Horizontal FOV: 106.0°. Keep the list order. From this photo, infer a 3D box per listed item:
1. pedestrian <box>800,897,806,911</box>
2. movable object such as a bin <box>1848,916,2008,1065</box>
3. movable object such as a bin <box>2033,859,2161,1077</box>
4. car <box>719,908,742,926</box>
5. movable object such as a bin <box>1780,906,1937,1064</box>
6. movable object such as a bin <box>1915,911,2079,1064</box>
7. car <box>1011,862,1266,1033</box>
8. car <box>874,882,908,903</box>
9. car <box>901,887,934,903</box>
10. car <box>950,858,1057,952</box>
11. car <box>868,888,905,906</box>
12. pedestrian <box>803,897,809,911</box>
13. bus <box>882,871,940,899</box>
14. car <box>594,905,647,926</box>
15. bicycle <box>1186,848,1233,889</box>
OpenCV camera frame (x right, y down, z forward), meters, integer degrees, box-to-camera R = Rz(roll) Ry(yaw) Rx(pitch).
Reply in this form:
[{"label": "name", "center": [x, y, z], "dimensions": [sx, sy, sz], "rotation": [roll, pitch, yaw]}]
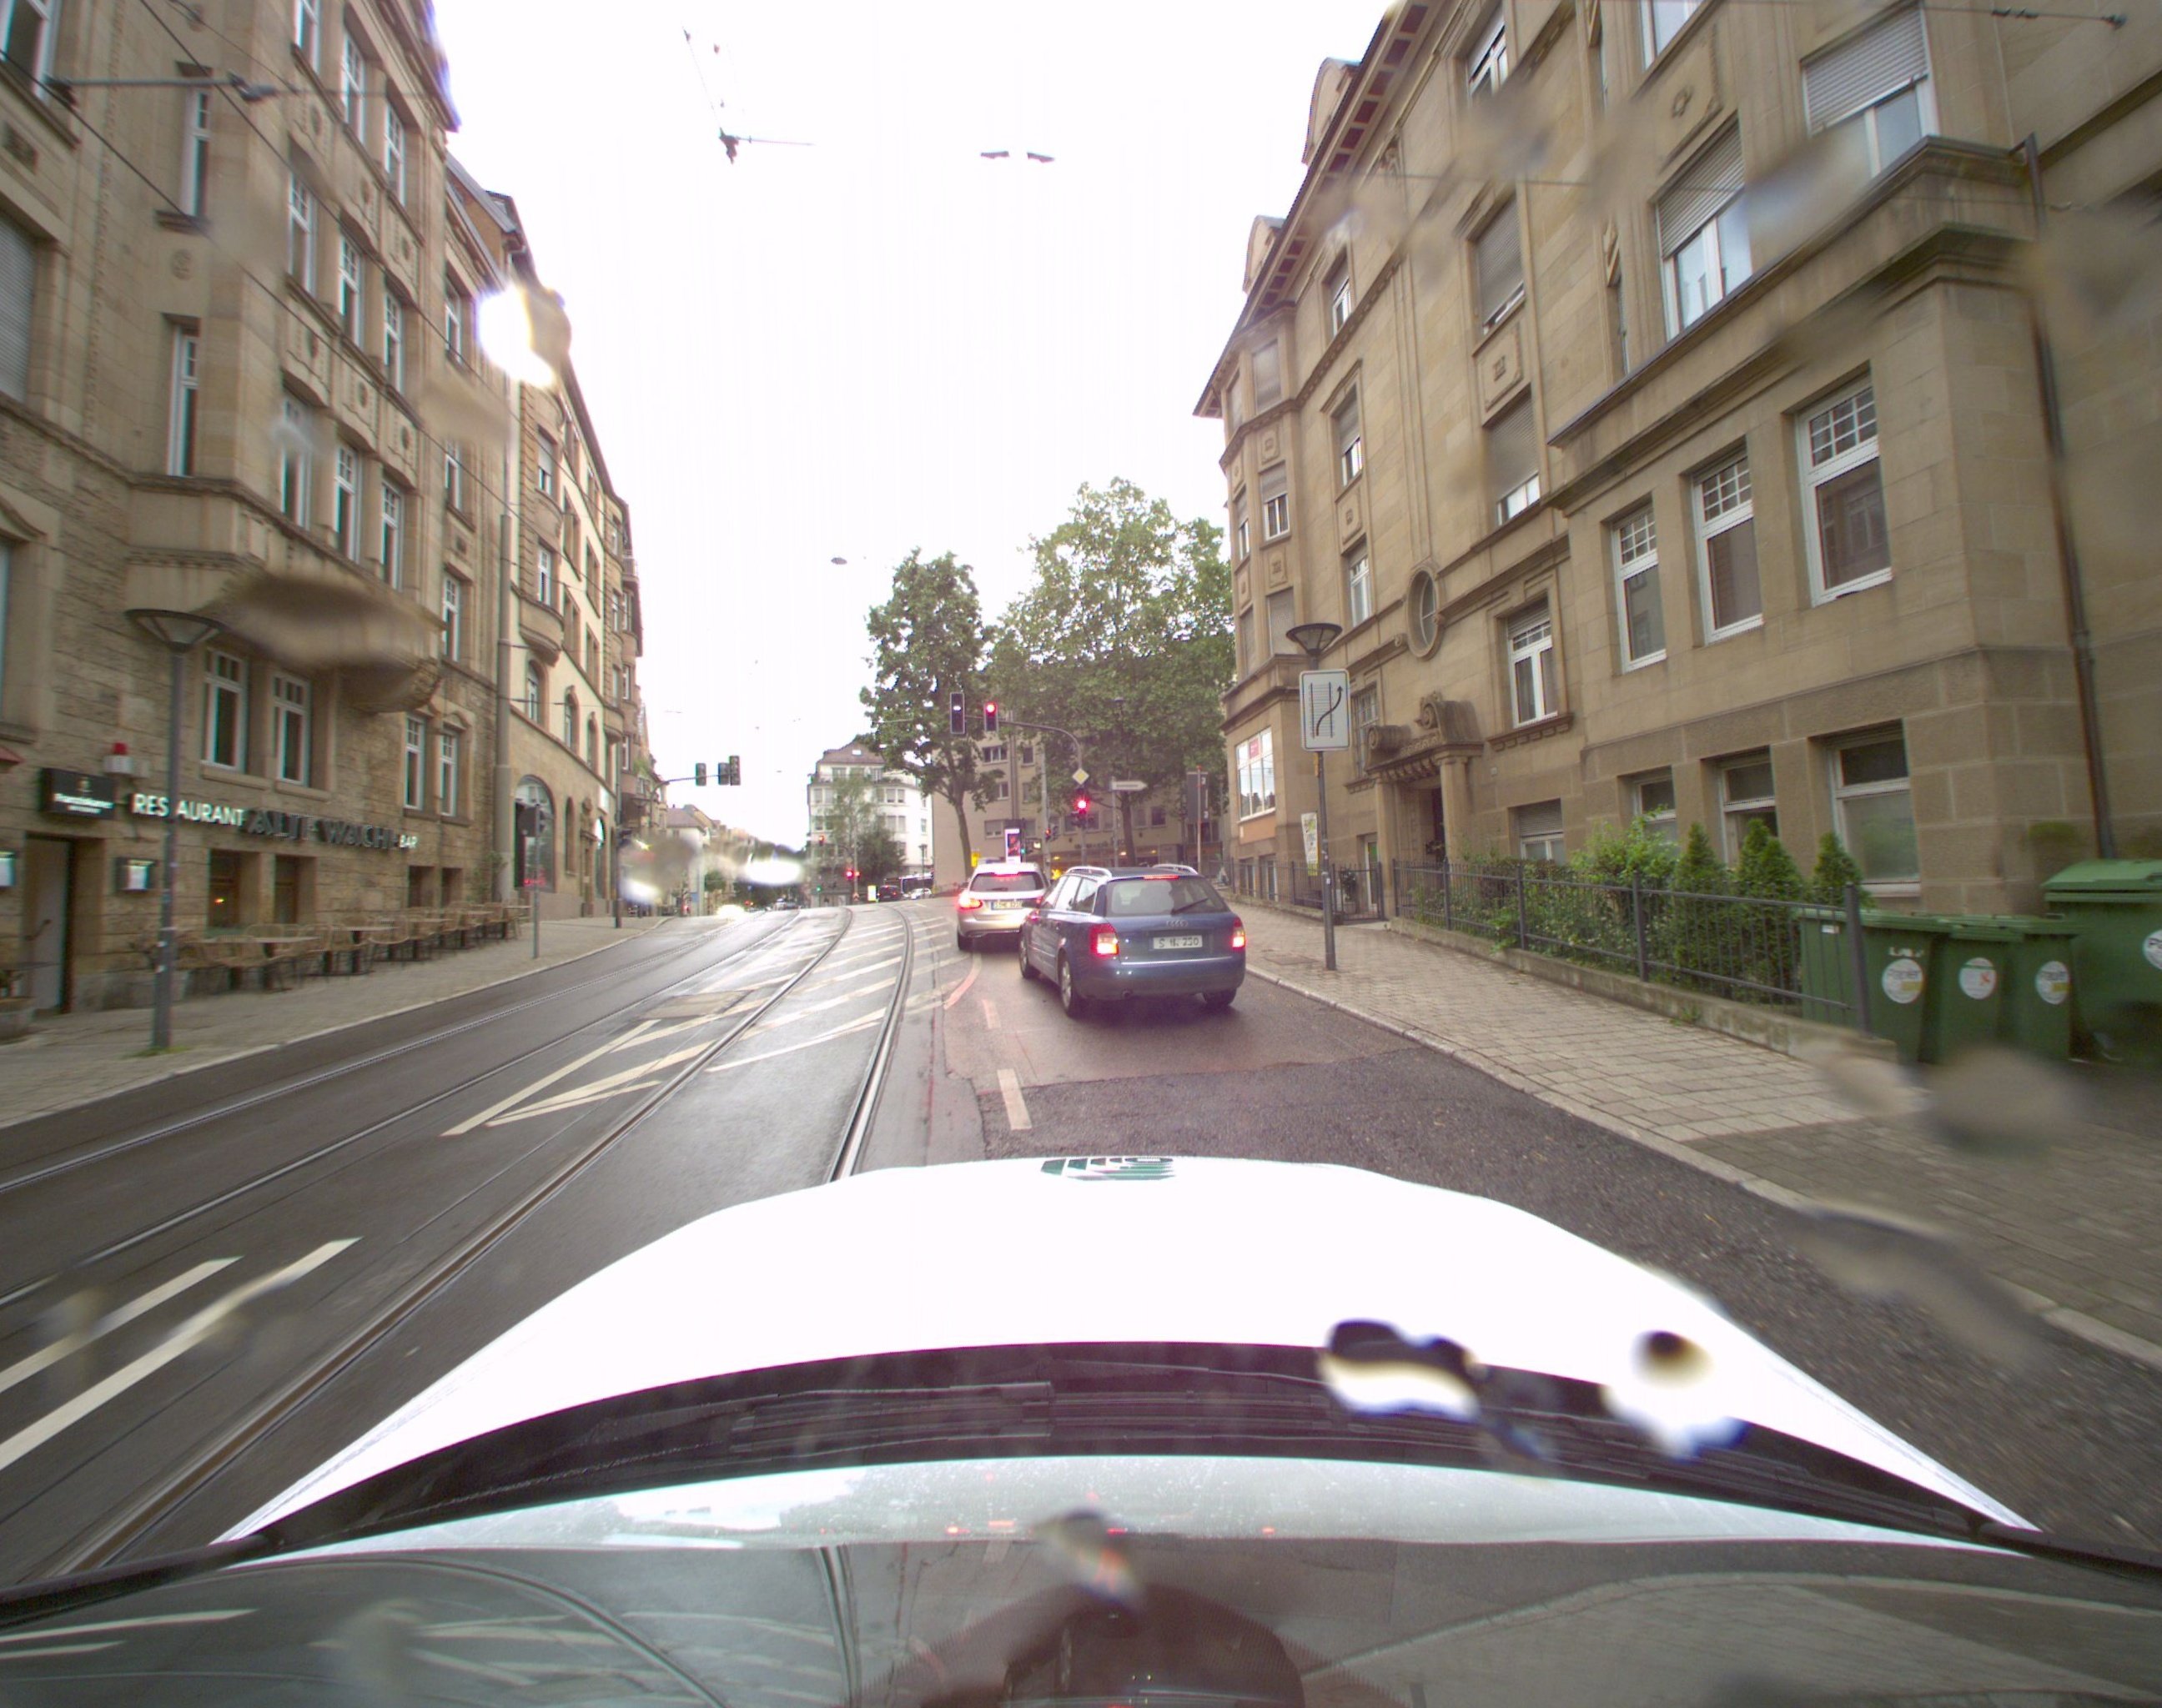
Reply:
[{"label": "pedestrian", "center": [-34.023, 6.107, 99.776], "dimensions": [0.650, 1.661, 0.646], "rotation": [-1, -1, -18]}, {"label": "movable object such as a bin", "center": [6.047, 0.953, 5.842], "dimensions": [0.537, 0.968, 0.602], "rotation": [2, -2, -10]}, {"label": "movable object such as a bin", "center": [7.612, 0.769, 5.466], "dimensions": [0.971, 1.432, 1.275], "rotation": [2, -2, -9]}, {"label": "car", "center": [-36.403, 6.504, 84.432], "dimensions": [1.805, 1.510, 4.623], "rotation": [-3, 0, -28]}, {"label": "movable object such as a bin", "center": [5.471, 0.899, 5.757], "dimensions": [0.537, 1.026, 0.602], "rotation": [2, -2, -10]}, {"label": "movable object such as a bin", "center": [6.680, 0.952, 5.963], "dimensions": [0.537, 1.026, 0.602], "rotation": [2, -2, -10]}, {"label": "car", "center": [0.381, 0.834, 9.233], "dimensions": [1.713, 1.415, 4.016], "rotation": [-1, 0, -14]}, {"label": "car", "center": [-16.340, 3.312, 70.134], "dimensions": [1.788, 1.510, 4.001], "rotation": [-5, 0, 1]}, {"label": "car", "center": [-18.229, 4.571, 90.917], "dimensions": [1.779, 1.510, 4.020], "rotation": [-3, 0, 20]}, {"label": "car", "center": [-1.400, 0.833, 14.965], "dimensions": [1.708, 1.456, 3.546], "rotation": [-1, 0, -5]}, {"label": "car", "center": [-20.450, 4.511, 85.759], "dimensions": [1.779, 1.614, 4.020], "rotation": [-3, 0, 20]}, {"label": "pedestrian", "center": [-32.708, 5.948, 96.920], "dimensions": [0.650, 1.661, 0.646], "rotation": [-1, -1, -18]}, {"label": "bus", "center": [-20.121, 3.633, 97.114], "dimensions": [2.832, 2.861, 8.771], "rotation": [-3, 0, 16]}, {"label": "car", "center": [-41.409, 5.500, 73.380], "dimensions": [4.007, 1.510, 1.785], "rotation": [-2, 0, -26]}, {"label": "bicycle", "center": [4.028, 0.460, 25.619], "dimensions": [1.300, 1.173, 0.524], "rotation": [-4, 0, -10]}]
